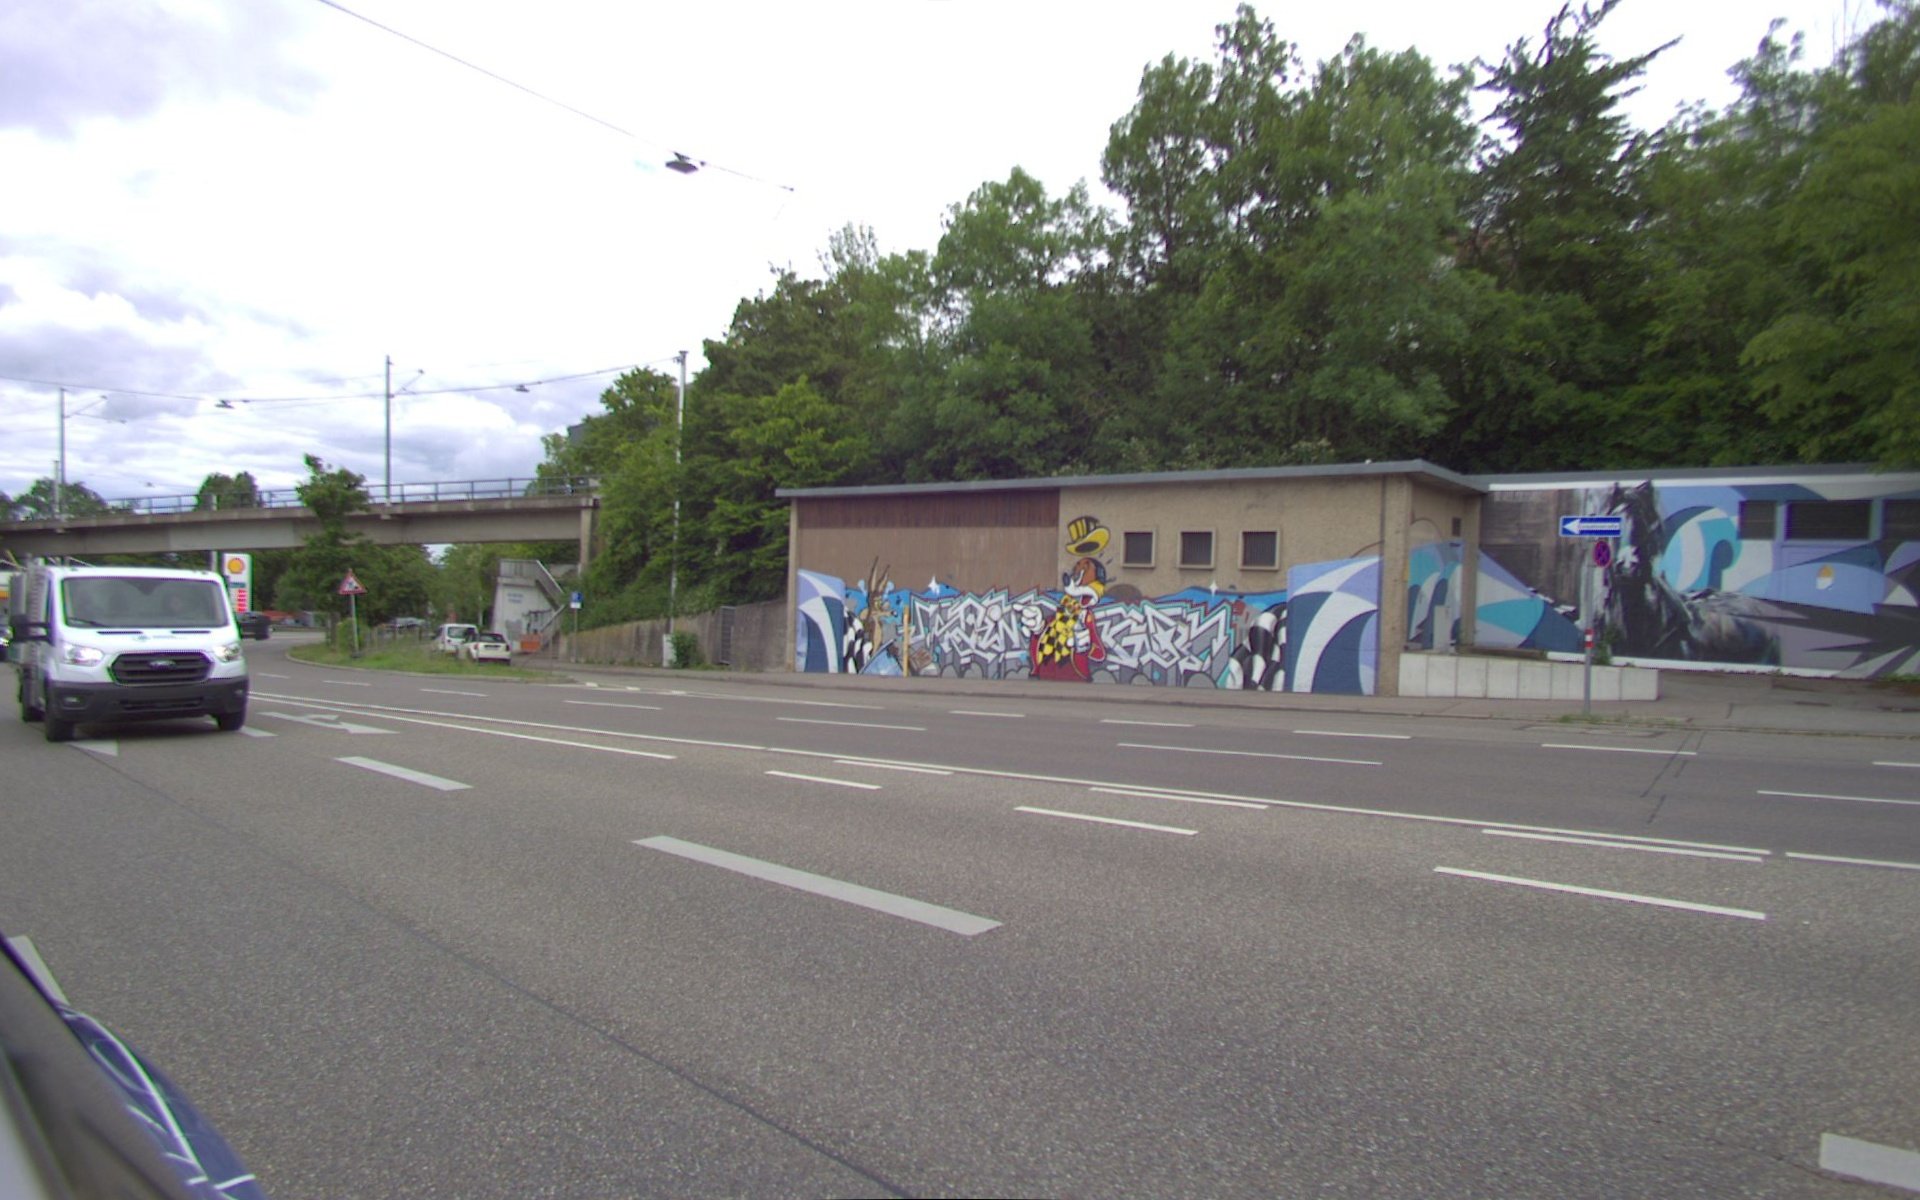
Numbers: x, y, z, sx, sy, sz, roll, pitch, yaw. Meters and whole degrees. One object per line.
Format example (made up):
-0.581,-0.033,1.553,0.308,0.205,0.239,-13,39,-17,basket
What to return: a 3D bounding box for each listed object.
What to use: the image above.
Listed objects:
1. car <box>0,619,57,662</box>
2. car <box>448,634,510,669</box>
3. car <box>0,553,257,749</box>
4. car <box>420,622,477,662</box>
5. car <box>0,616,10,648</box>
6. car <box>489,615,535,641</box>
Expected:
-33.489,1.419,35.829,3.997,1.422,1.711,0,-3,40,car
-21.184,2.234,44.483,1.743,1.430,3.812,3,-3,-36,car
-11.833,0.603,14.143,6.268,2.190,1.972,0,-2,43,car
-25.221,2.044,49.830,1.743,1.798,4.475,5,-4,-36,car
-46.008,1.471,47.581,4.001,1.422,1.710,-1,-3,44,car
-43.121,2.701,97.497,2.239,2.290,6.337,3,-2,-7,car
